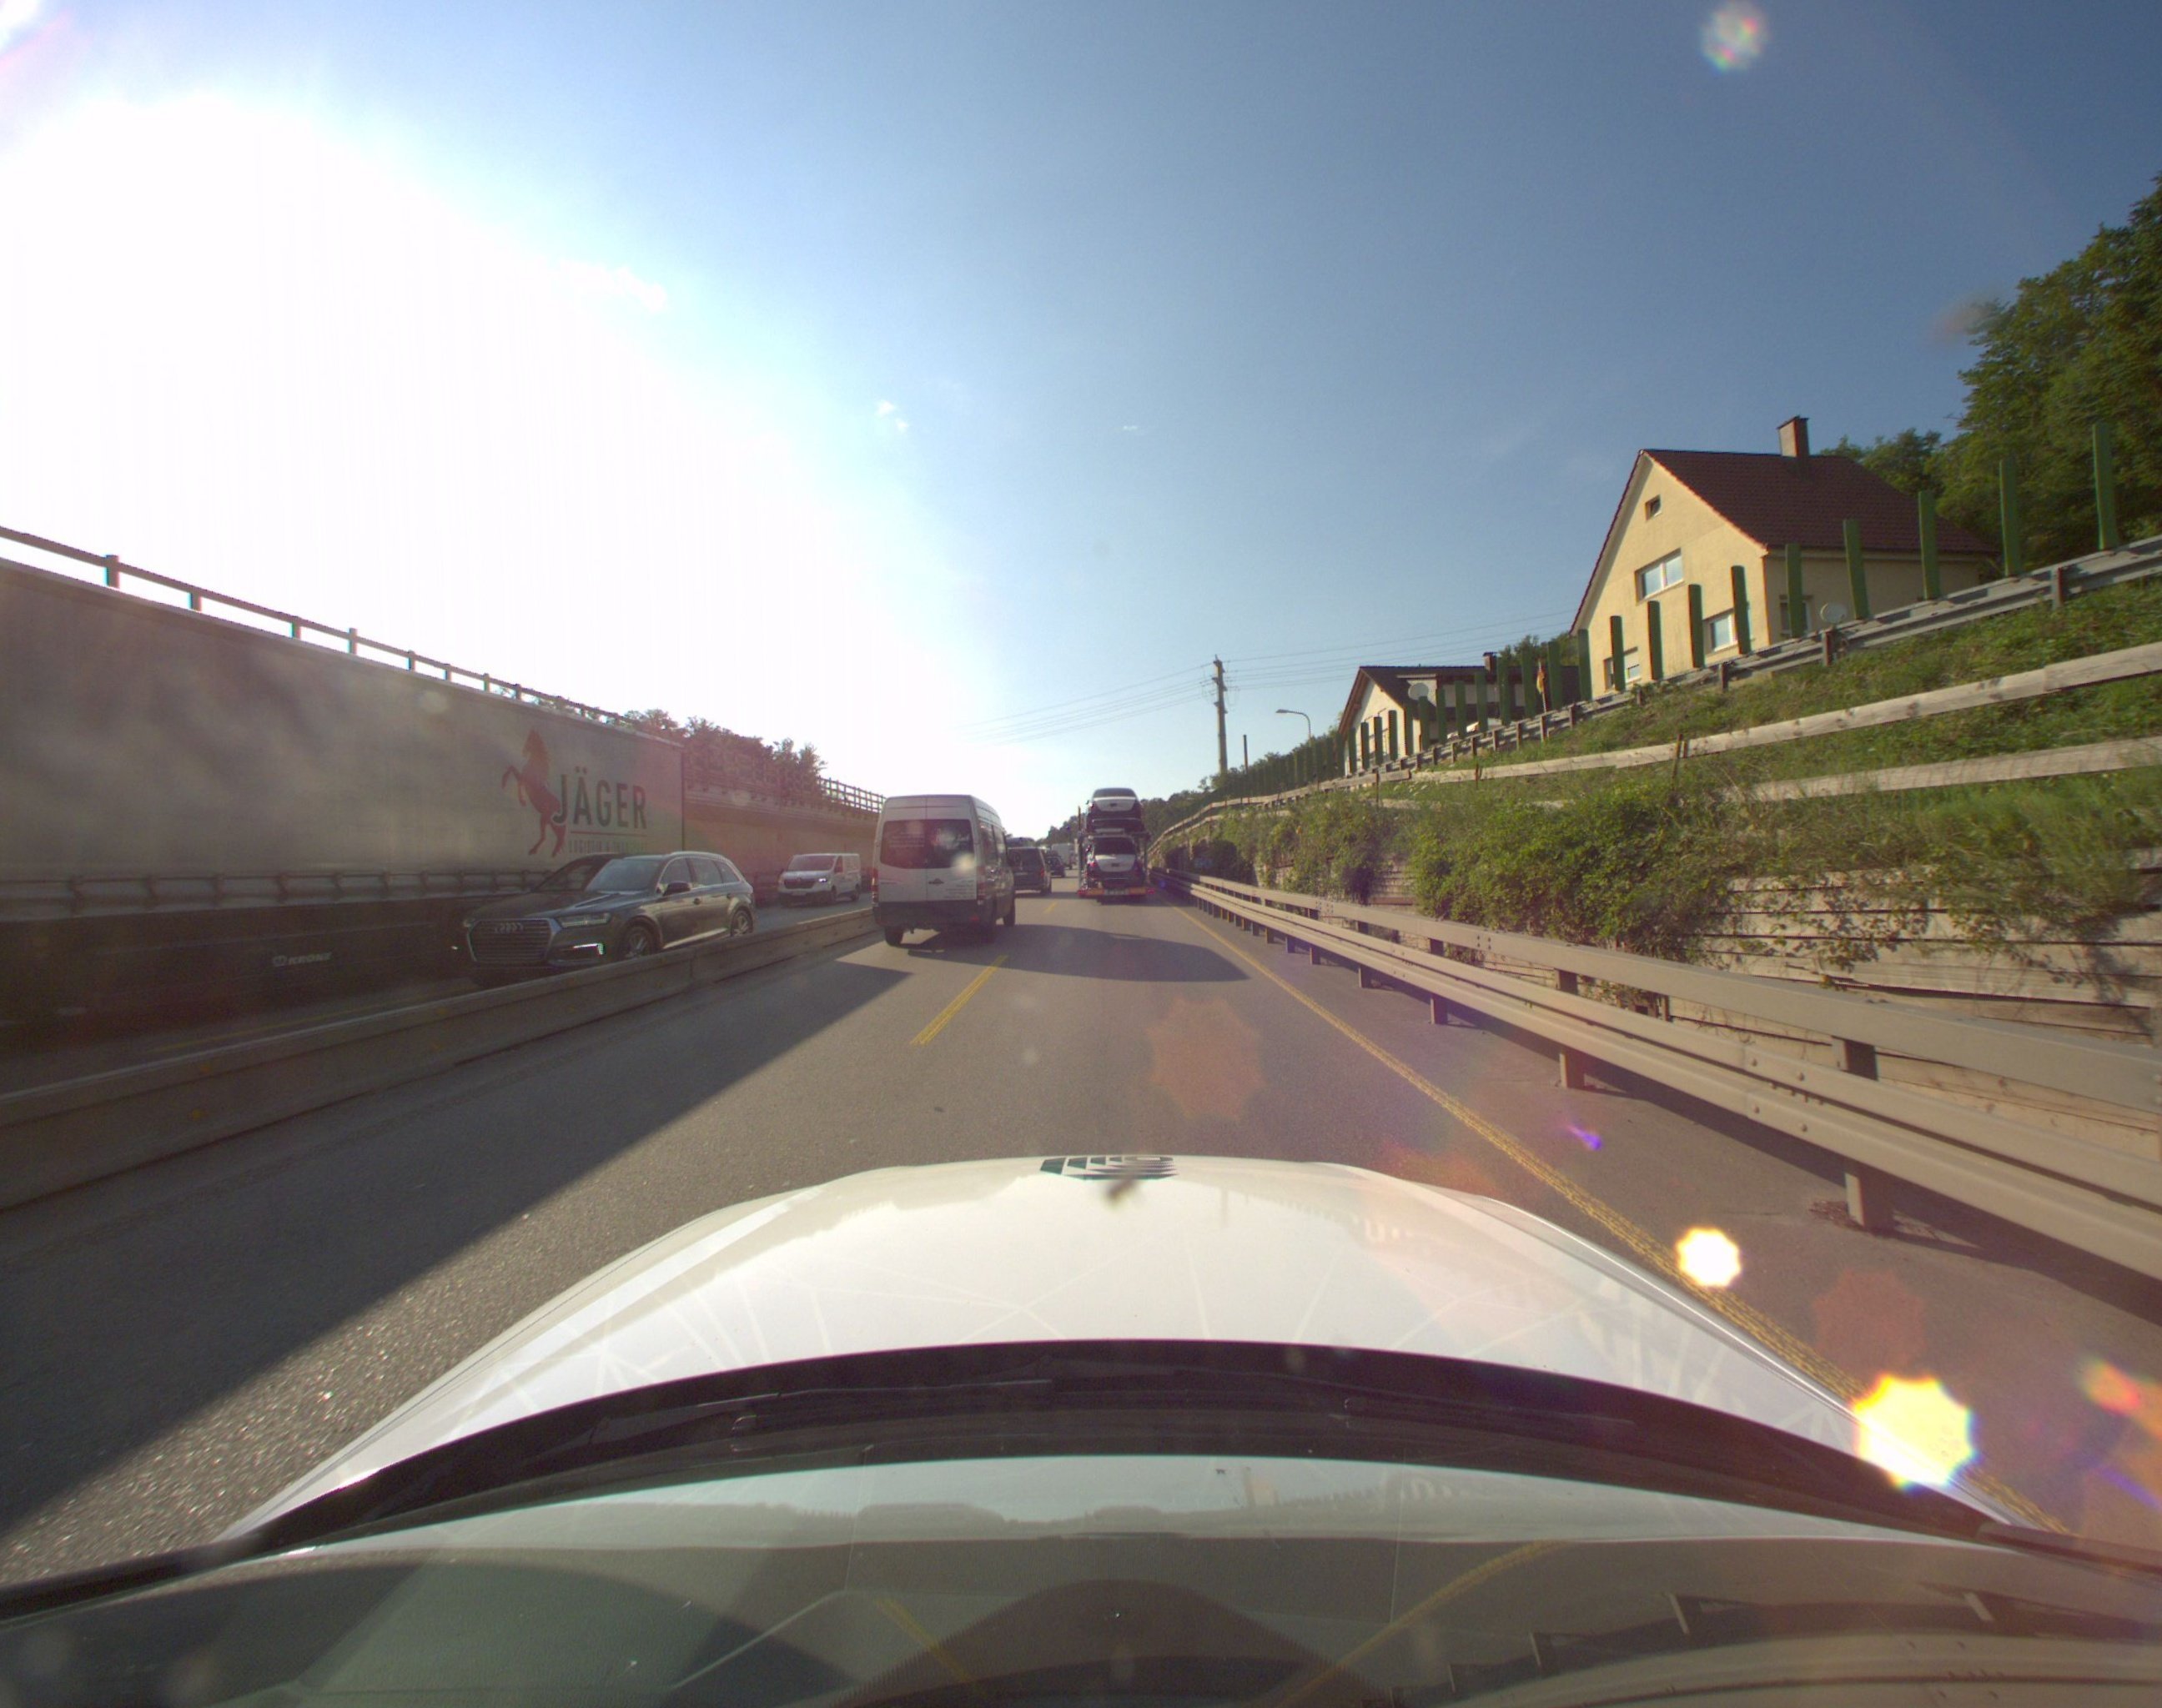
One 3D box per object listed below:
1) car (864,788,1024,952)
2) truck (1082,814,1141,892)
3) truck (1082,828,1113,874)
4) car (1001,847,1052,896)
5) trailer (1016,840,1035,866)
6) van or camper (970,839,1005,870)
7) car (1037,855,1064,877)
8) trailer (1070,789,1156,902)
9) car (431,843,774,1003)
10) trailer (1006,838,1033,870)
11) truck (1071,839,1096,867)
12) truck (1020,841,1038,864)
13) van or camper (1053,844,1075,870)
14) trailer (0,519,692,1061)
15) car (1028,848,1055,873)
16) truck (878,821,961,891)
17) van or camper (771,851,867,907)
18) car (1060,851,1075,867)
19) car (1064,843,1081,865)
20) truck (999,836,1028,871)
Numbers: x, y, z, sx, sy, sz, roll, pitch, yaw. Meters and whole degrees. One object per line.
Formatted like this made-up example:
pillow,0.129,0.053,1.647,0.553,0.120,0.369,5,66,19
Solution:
car,-2.456,0.267,16.196,1.986,2.648,5.532,-2,0,2
truck,1.529,0.000,40.901,2.672,3.535,7.196,-1,-1,2
truck,1.658,-0.300,86.896,2.899,4.606,7.281,-2,0,-1
car,-2.195,0.735,33.871,1.802,1.904,3.999,-1,-1,0
trailer,-9.254,-0.199,136.936,2.703,4.092,12.556,-1,0,-3
van or camper,-8.690,0.060,76.366,2.303,2.662,6.456,-3,0,1
car,-2.160,0.831,58.456,1.719,1.522,3.973,-1,0,0
trailer,1.271,-0.140,33.335,2.672,3.535,15.294,-1,-1,2
car,-6.333,0.815,11.703,1.816,1.772,5.140,-1,-1,1
trailer,-8.436,-0.038,112.797,2.598,4.112,9.626,-5,0,0
truck,0.573,-0.165,144.092,4.050,4.679,10.594,-2,0,1
truck,-9.898,-0.274,156.006,2.975,4.153,15.842,-1,0,-2
van or camper,-1.698,0.328,82.800,1.961,2.592,5.043,-1,-1,1
trailer,-9.792,-0.420,10.189,2.902,4.240,13.772,-1,-1,2
car,-4.110,0.710,85.580,2.463,2.534,4.001,-2,-1,1
truck,-8.943,0.180,46.132,2.705,3.424,8.141,-4,-1,1
van or camper,-9.767,0.894,30.803,1.910,1.922,4.923,-1,0,1
car,-1.831,0.658,111.036,1.879,2.100,3.766,-1,-1,1
car,-2.128,0.111,191.132,3.438,5.035,9.640,-1,0,-3
truck,-8.435,-0.060,103.136,2.616,4.112,9.625,-4,0,0
